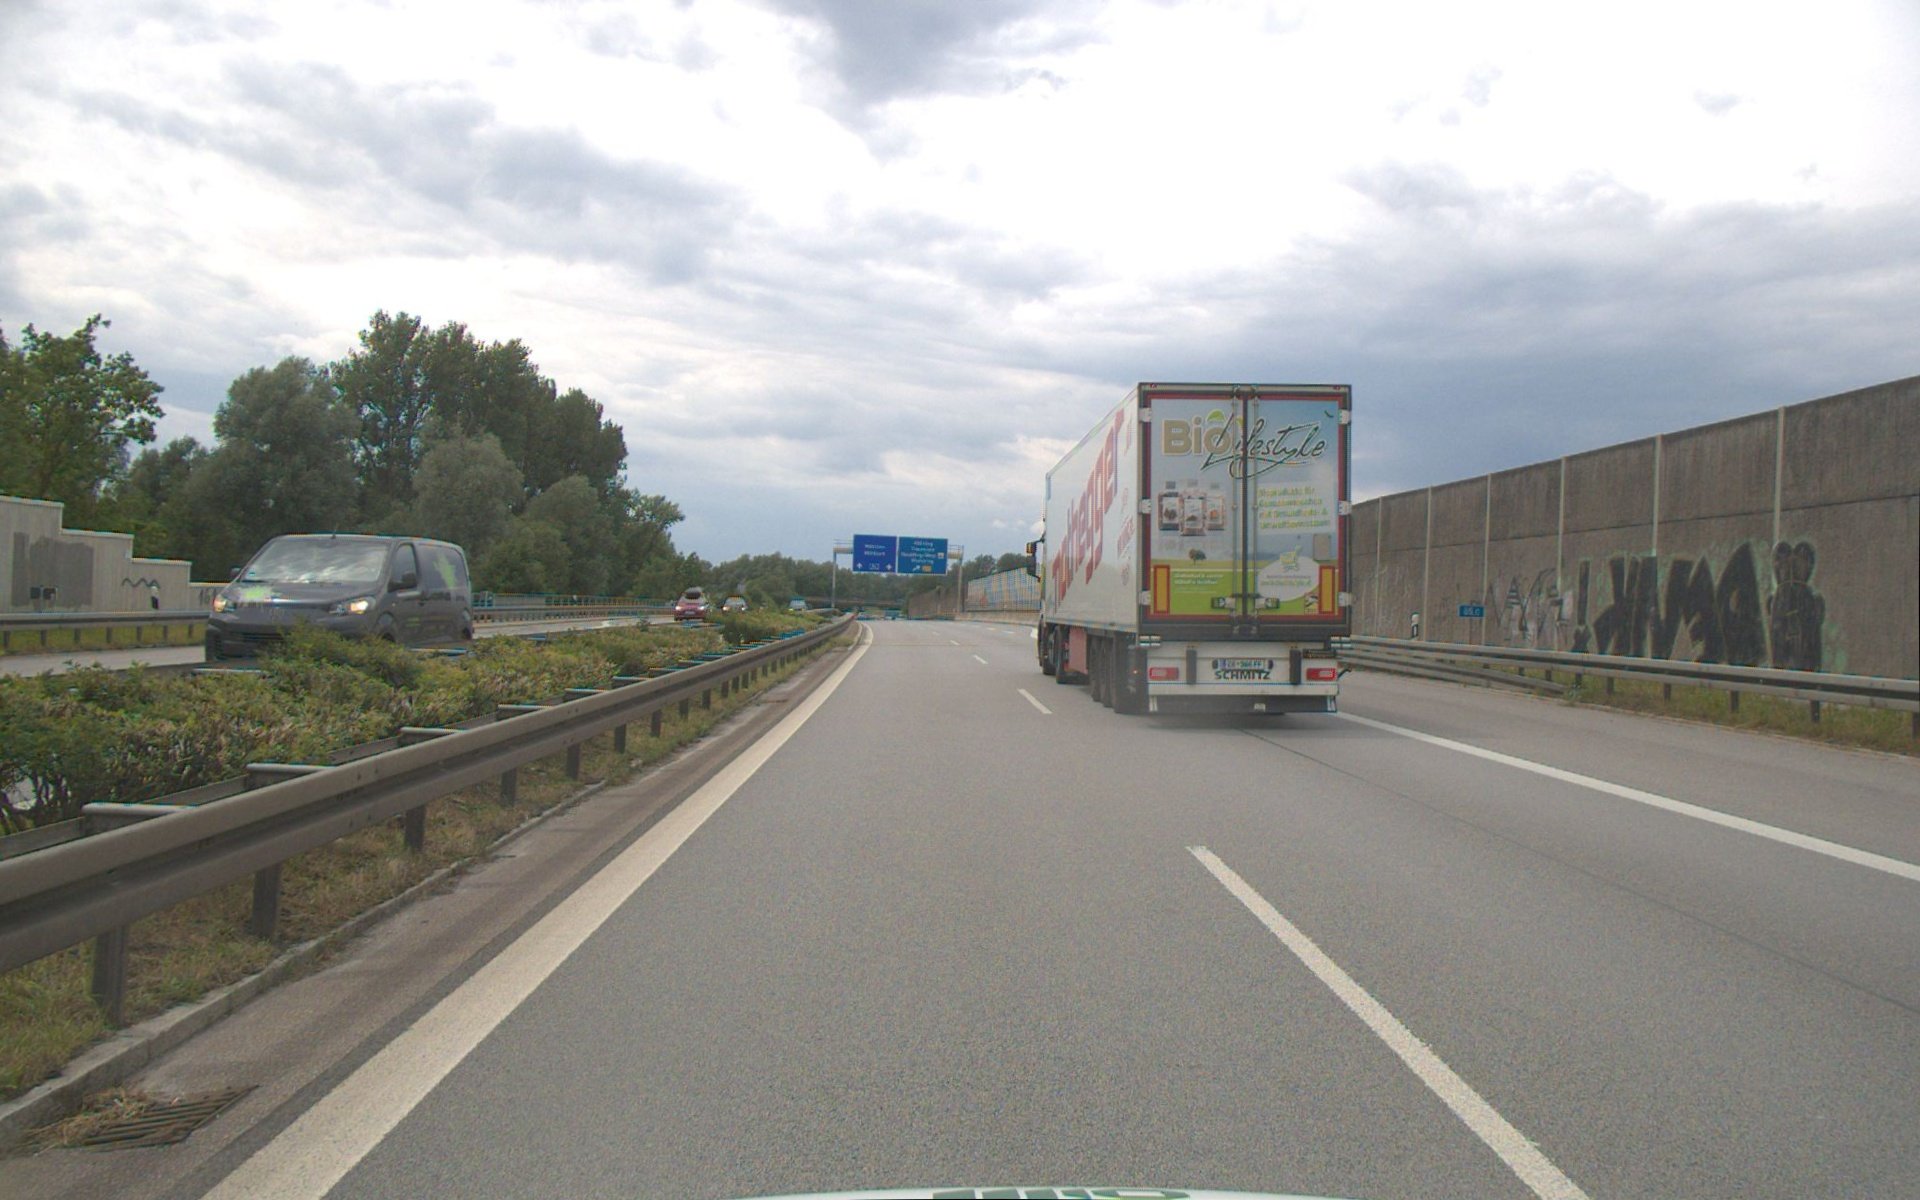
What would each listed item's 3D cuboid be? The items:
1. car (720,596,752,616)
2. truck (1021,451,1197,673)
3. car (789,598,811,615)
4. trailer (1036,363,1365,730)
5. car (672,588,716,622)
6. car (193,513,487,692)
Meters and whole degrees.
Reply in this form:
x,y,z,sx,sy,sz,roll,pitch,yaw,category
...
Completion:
x,y,z,sx,sy,sz,roll,pitch,yaw,category
-16.594,0.451,122.581,1.930,1.428,4.707,0,0,-3,car
2.822,-0.684,32.949,2.701,4.029,5.673,1,0,-3,truck
-14.701,0.561,152.441,1.804,1.557,4.832,0,0,-3,car
3.131,-0.613,26.316,2.736,4.248,14.097,0,0,-2,trailer
-14.828,0.268,92.409,1.930,1.792,4.941,1,0,-3,car
-7.372,0.018,20.214,1.953,1.919,4.554,1,0,-2,car
